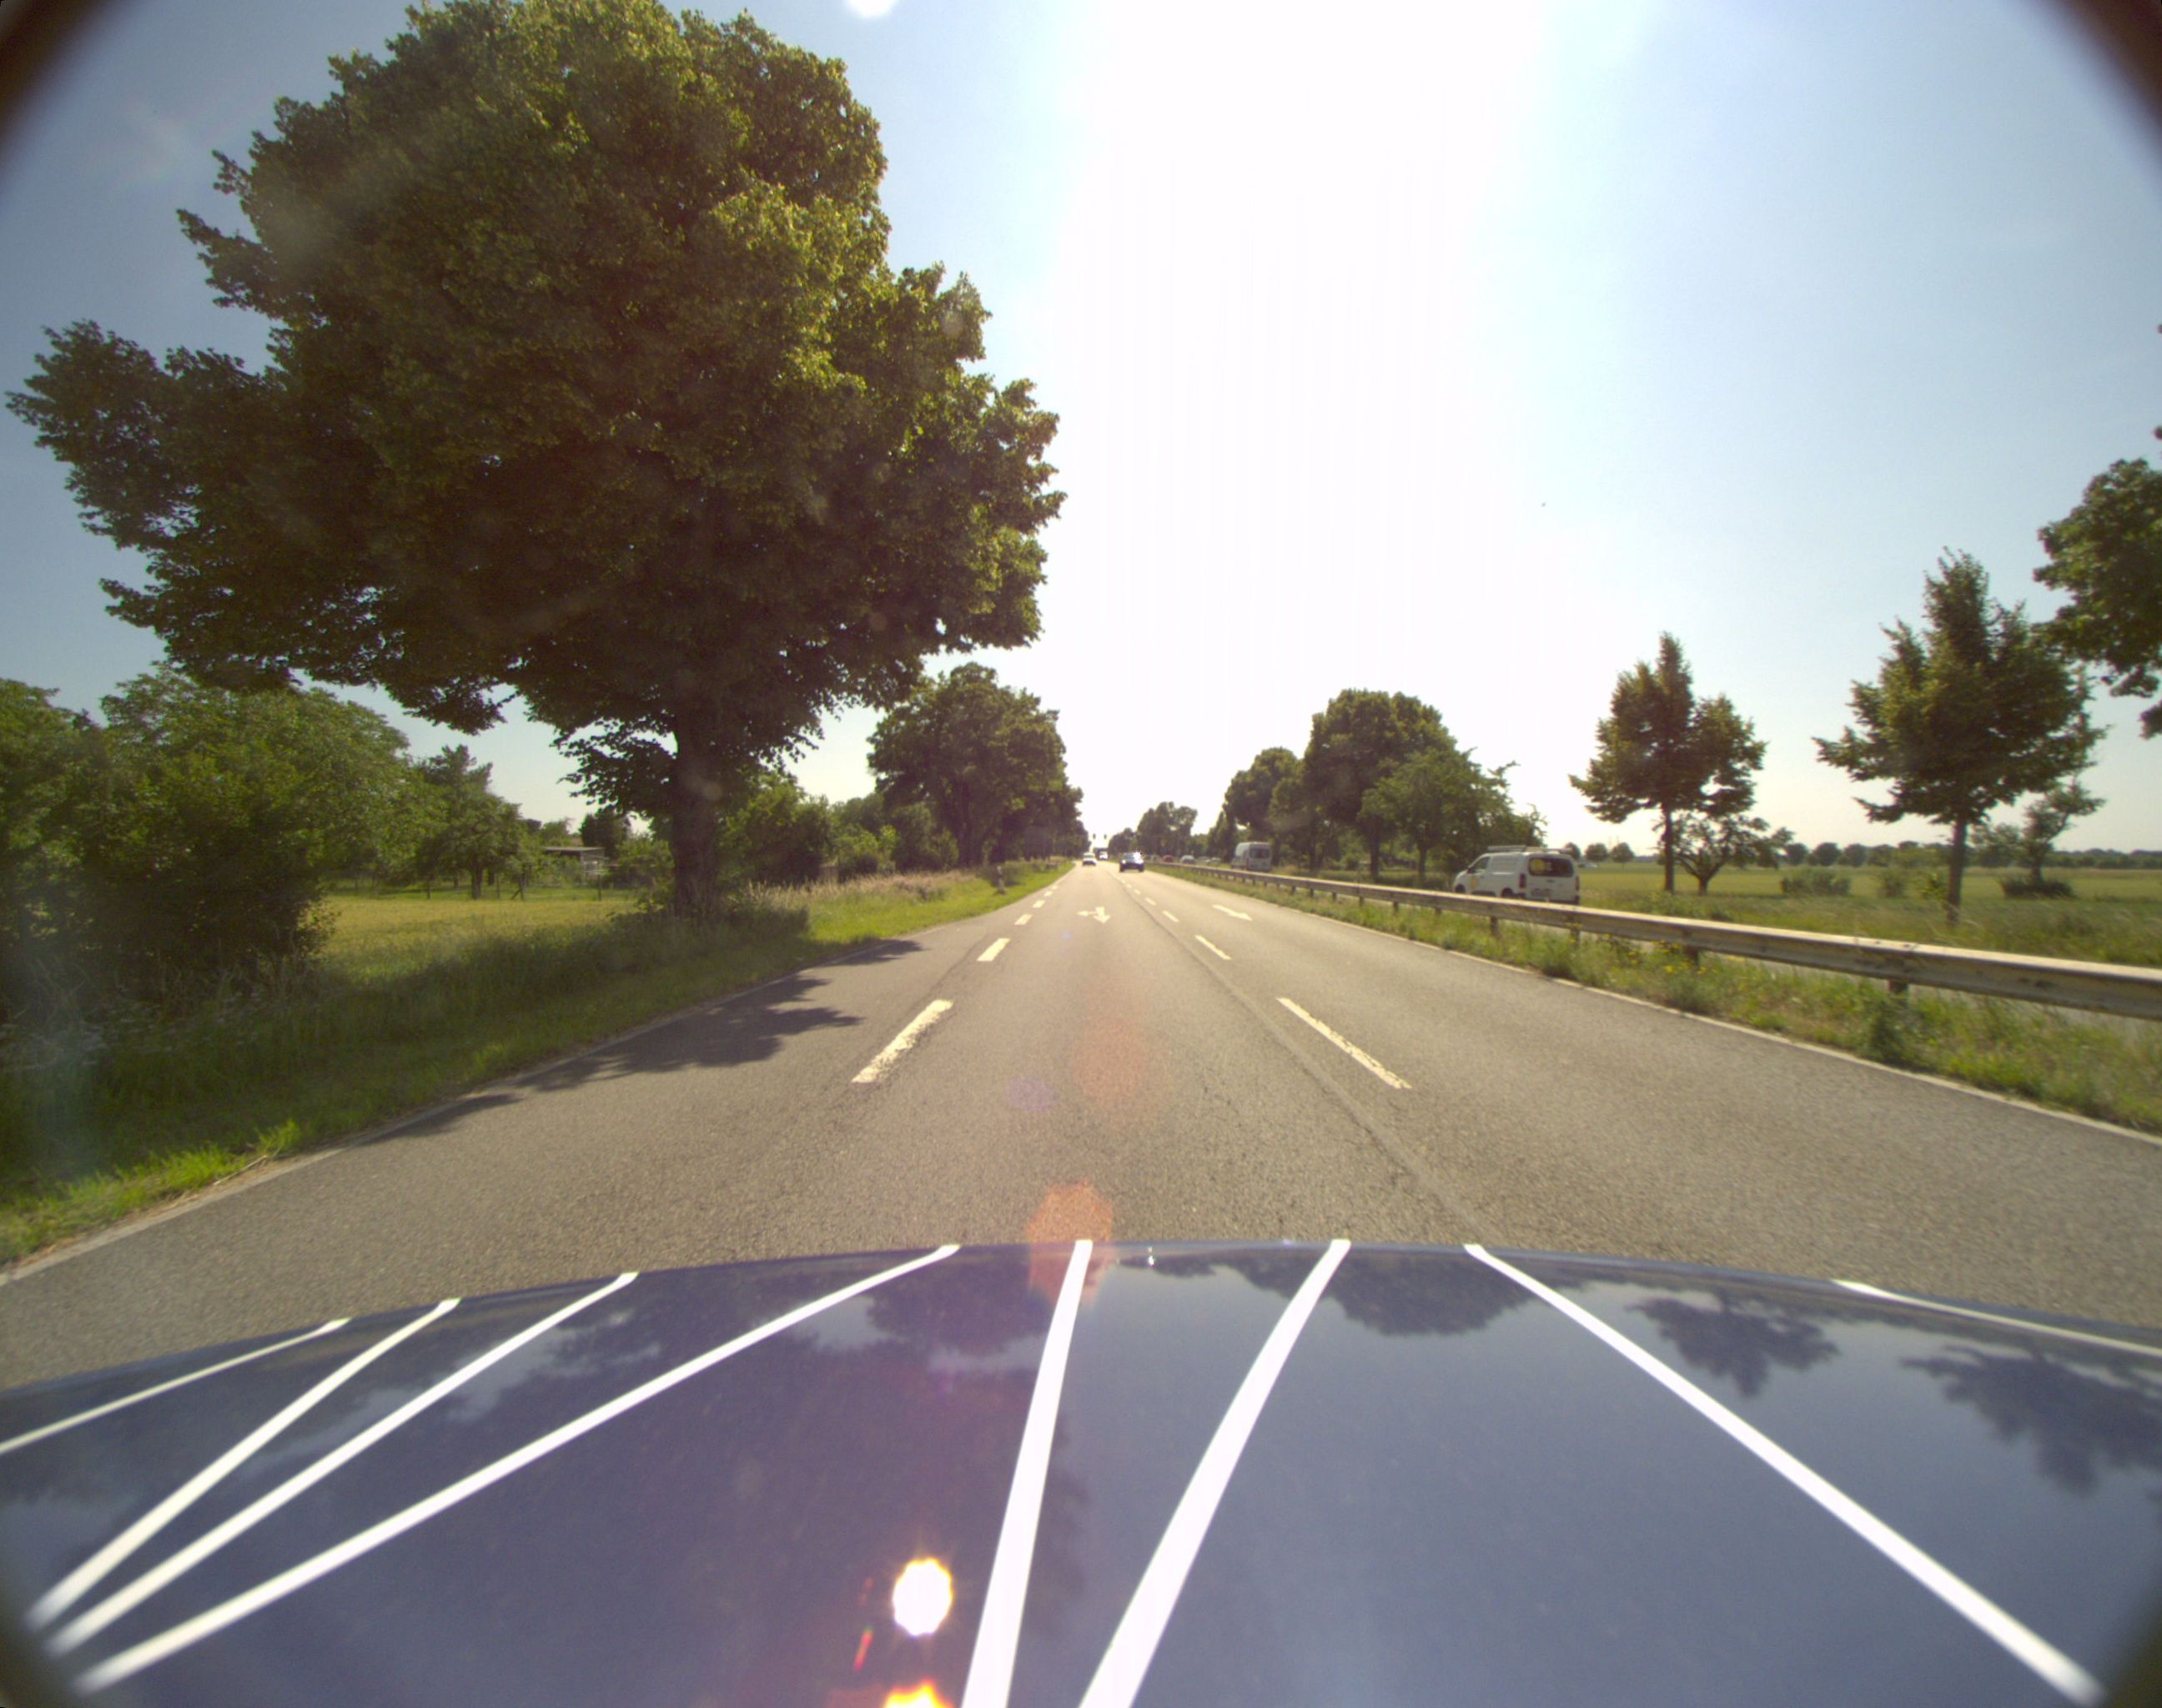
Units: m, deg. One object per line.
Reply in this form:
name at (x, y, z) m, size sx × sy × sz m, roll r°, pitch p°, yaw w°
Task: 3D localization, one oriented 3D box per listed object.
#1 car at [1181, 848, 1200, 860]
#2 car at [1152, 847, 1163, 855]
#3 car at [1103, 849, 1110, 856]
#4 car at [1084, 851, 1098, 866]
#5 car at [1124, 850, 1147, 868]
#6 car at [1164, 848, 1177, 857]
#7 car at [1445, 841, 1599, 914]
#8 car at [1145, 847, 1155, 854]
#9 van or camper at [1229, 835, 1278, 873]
car at (15.070, -0.037, 104.581) m, size 1.960 × 1.581 × 4.864 m, roll 1°, pitch 0°, yaw 0°
car at (15.611, -0.641, 155.168) m, size 1.765 × 1.581 × 3.894 m, roll 0°, pitch 1°, yaw 0°
car at (6.616, -0.504, 198.031) m, size 1.886 × 1.775 × 3.999 m, roll 0°, pitch 1°, yaw 0°
car at (1.290, 0.579, 101.832) m, size 1.777 × 1.863 × 4.580 m, roll 0°, pitch 1°, yaw 0°
car at (4.633, 0.412, 64.861) m, size 1.860 × 1.507 × 4.100 m, roll -1°, pitch 1°, yaw 2°
car at (15.549, -0.308, 131.674) m, size 1.765 × 1.581 × 3.894 m, roll 0°, pitch 1°, yaw 0°
car at (13.207, 0.627, 23.159) m, size 2.043 × 2.002 × 4.531 m, roll 0°, pitch 1°, yaw 0°
car at (15.476, -0.787, 170.513) m, size 1.765 × 1.581 × 3.894 m, roll 0°, pitch 1°, yaw 0°
van or camper at (13.908, -0.026, 61.743) m, size 2.391 × 2.931 × 7.091 m, roll 1°, pitch 1°, yaw 1°
